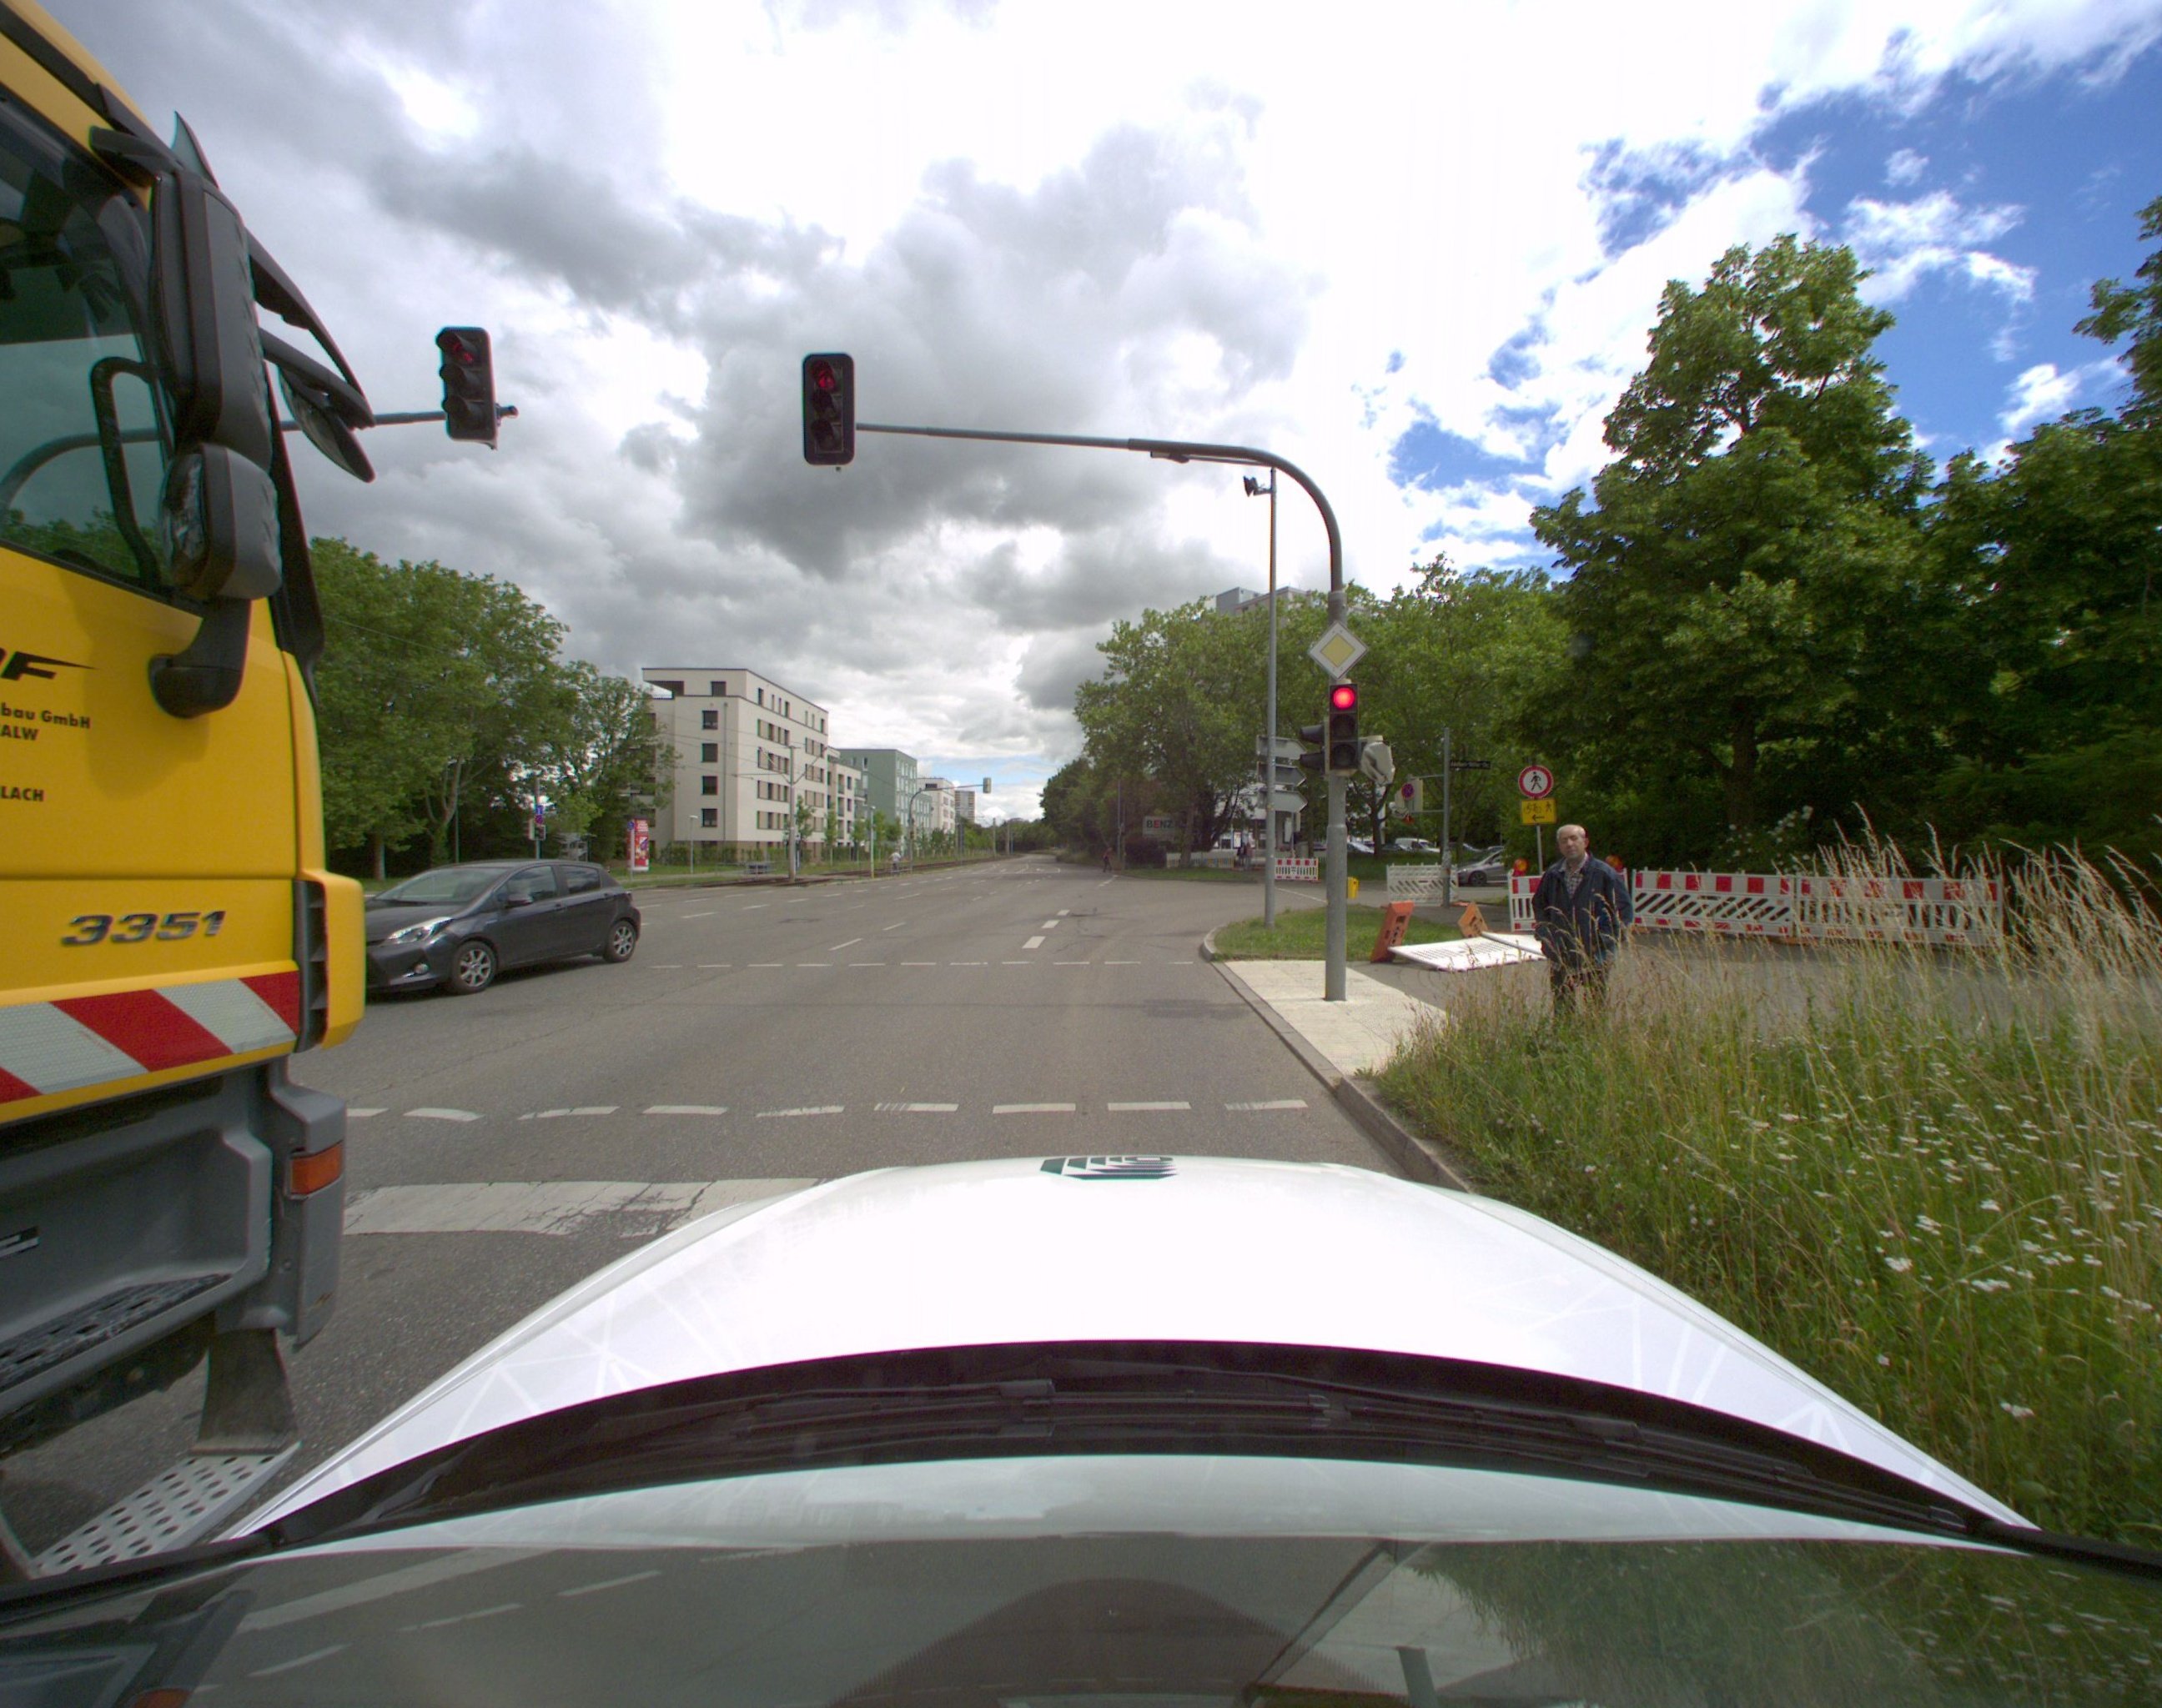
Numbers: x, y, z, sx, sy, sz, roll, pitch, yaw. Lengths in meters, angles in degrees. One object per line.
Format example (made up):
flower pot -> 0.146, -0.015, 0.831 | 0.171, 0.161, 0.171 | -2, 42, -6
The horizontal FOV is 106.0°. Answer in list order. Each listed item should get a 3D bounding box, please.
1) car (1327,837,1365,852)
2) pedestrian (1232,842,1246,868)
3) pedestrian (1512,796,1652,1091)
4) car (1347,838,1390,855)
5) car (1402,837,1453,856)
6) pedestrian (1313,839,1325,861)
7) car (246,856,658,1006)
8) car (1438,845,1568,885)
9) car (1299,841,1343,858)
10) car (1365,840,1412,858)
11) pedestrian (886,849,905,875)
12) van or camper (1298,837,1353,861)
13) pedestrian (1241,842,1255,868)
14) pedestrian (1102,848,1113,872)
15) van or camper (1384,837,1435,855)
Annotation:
car -> 25.313, -0.893, 77.819 | 1.489, 1.404, 3.377 | 0, -1, -29
pedestrian -> 9.163, 0.079, 47.174 | 0.712, 1.489, 0.702 | -1, -1, 17
pedestrian -> 3.302, 0.527, 5.403 | 0.719, 1.740, 0.962 | -1, 0, 31
car -> 28.023, -0.766, 79.414 | 1.677, 1.634, 3.787 | 0, 1, -28
car -> 29.021, -0.598, 68.357 | 1.489, 1.465, 3.856 | 0, -1, -29
pedestrian -> 22.045, -0.382, 75.525 | 0.802, 2.002, 0.852 | 0, -1, -3
car -> -7.462, 0.789, 10.299 | 1.768, 1.469, 4.051 | -1, 0, 6
car -> 17.207, 0.444, 33.364 | 4.379, 1.586, 1.774 | 0, -1, 2
car -> 20.602, -0.362, 69.928 | 3.404, 1.445, 1.477 | 0, -1, -16
car -> 24.320, -0.374, 64.537 | 1.488, 1.404, 3.378 | 0, -1, -27
pedestrian -> -11.351, 0.511, 49.844 | 0.855, 1.586, 0.787 | 0, -1, -38
van or camper -> 18.480, -0.381, 61.739 | 1.849, 1.684, 3.967 | -1, 0, -25
pedestrian -> 9.795, 0.072, 47.783 | 0.680, 1.489, 0.703 | -1, -1, 20
pedestrian -> 1.706, 0.366, 52.137 | 0.650, 1.539, 0.773 | 0, -1, 2
van or camper -> 26.977, -0.643, 67.069 | 1.523, 1.356, 3.738 | 0, -1, -31
